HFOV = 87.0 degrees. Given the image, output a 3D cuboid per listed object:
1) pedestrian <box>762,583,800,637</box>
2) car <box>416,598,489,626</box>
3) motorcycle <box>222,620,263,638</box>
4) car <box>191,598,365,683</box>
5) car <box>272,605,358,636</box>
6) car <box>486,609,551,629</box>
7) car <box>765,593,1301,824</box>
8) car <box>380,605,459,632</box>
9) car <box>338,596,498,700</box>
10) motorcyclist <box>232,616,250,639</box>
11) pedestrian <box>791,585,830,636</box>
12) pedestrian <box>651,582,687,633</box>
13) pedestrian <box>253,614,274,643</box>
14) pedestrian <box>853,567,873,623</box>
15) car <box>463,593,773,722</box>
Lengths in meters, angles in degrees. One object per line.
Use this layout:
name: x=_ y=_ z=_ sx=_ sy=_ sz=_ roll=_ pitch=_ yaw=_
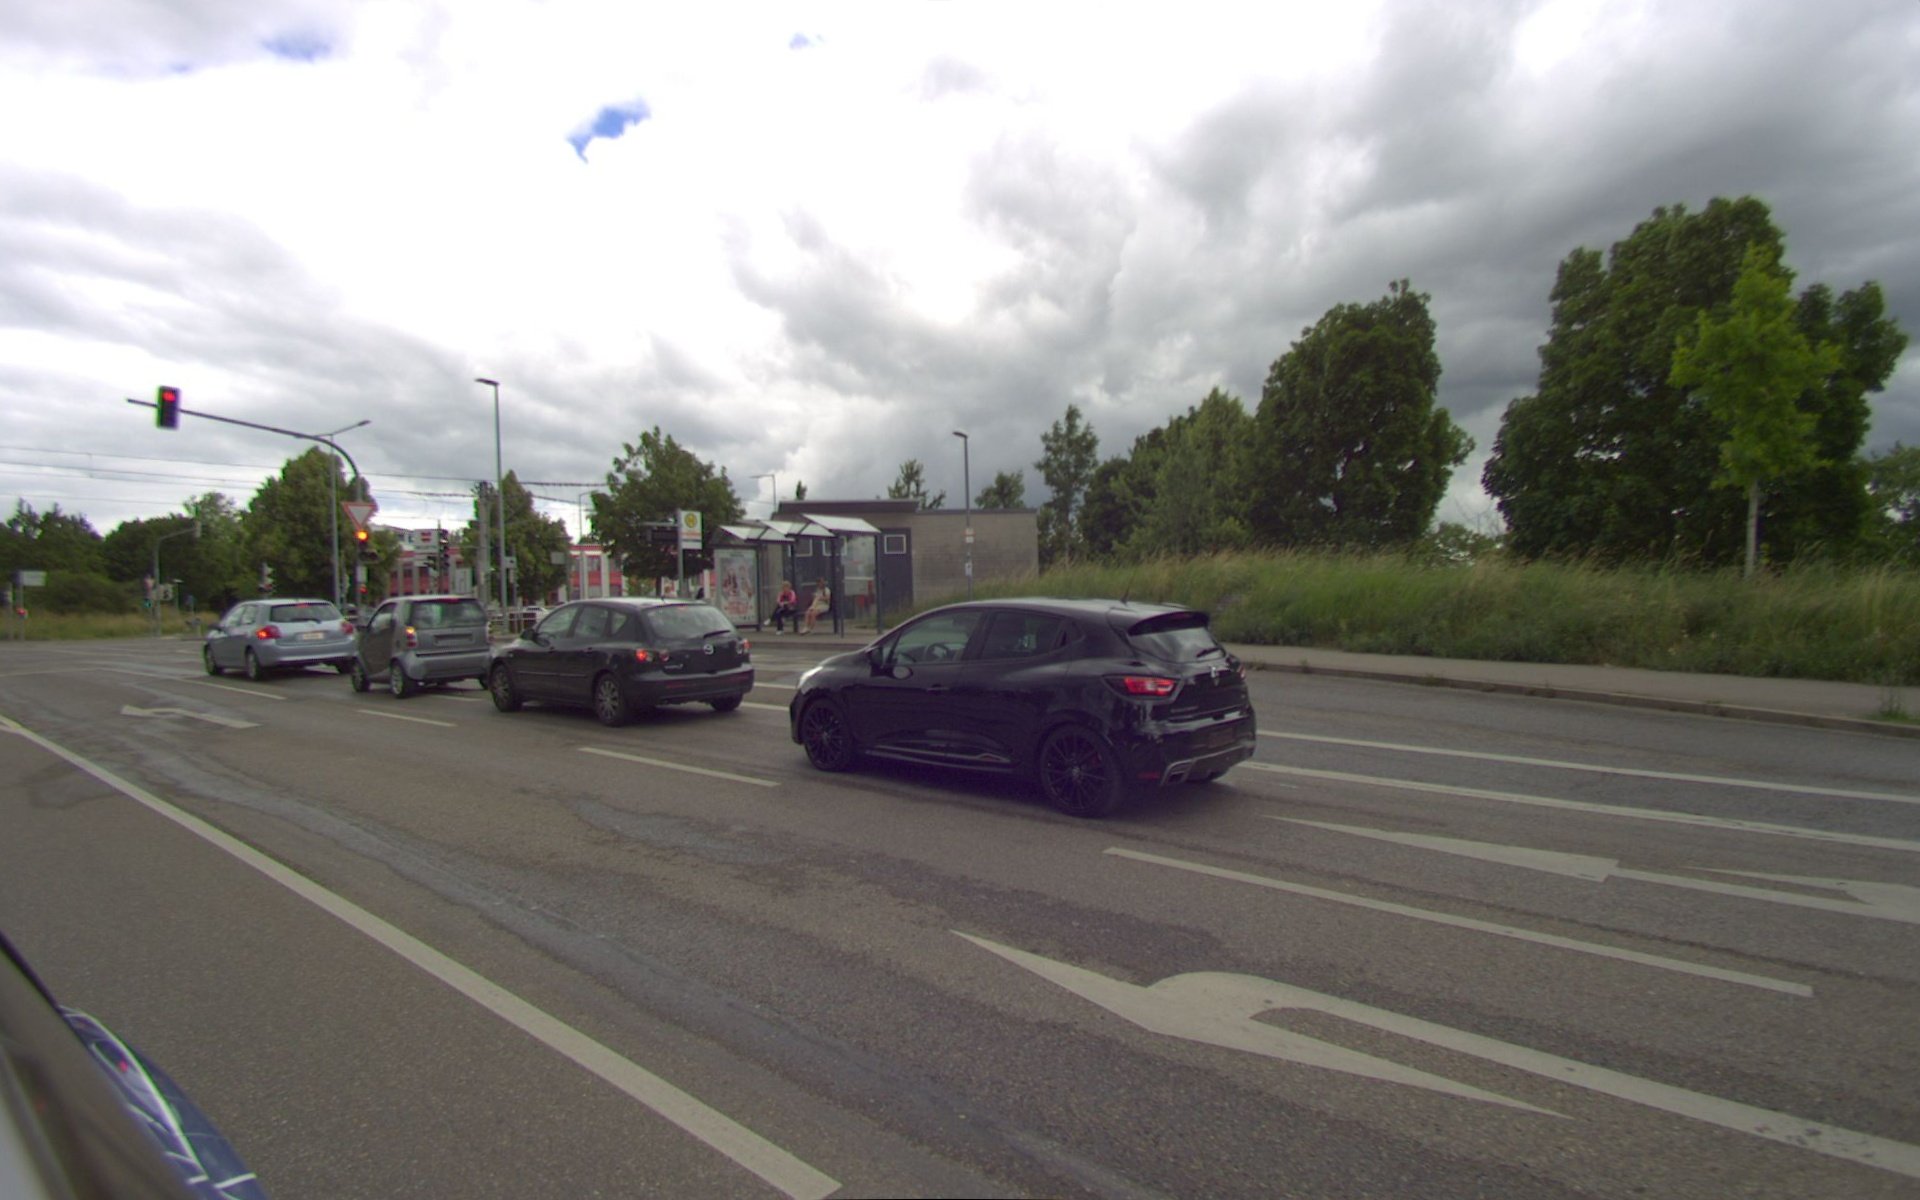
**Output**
pedestrian: x=-4.575 y=0.249 z=25.875 sx=0.549 sy=1.340 sz=0.765 roll=-2 pitch=0 yaw=35
car: x=-38.064 y=0.930 z=75.972 sx=2.175 sy=1.920 sz=4.410 roll=-1 pitch=-3 yaw=28
motorcycle: x=-46.634 y=1.903 z=65.792 sx=2.034 sy=1.098 sz=0.762 roll=-2 pitch=-1 yaw=-25
car: x=-13.872 y=0.777 z=20.493 sx=4.216 sy=1.547 sz=1.809 roll=-1 pitch=0 yaw=40
car: x=-40.486 y=1.299 z=63.631 sx=1.810 sy=1.793 sz=4.174 roll=-2 pitch=0 yaw=33
car: x=-33.692 y=1.467 z=77.352 sx=1.811 sy=1.351 sz=4.170 roll=-2 pitch=-4 yaw=36
car: x=0.359 y=0.661 z=7.898 sx=4.061 sy=1.342 sz=1.621 roll=-1 pitch=-1 yaw=43
car: x=-37.718 y=1.297 z=70.719 sx=1.807 sy=1.806 sz=4.649 roll=-2 pitch=-1 yaw=29
car: x=-8.835 y=0.729 z=16.438 sx=2.774 sy=1.538 sz=1.413 roll=-1 pitch=-1 yaw=41
motorcyclist: x=-46.734 y=1.791 z=65.752 sx=0.803 sy=1.432 sz=0.762 roll=-2 pitch=-1 yaw=-25
pedestrian: x=-3.706 y=0.258 z=25.041 sx=0.549 sy=1.236 sz=0.765 roll=-2 pitch=0 yaw=35
pedestrian: x=-8.006 y=0.207 z=27.846 sx=0.772 sy=1.374 sz=0.544 roll=-2 pitch=0 yaw=36
pedestrian: x=-37.005 y=1.517 z=53.773 sx=0.714 sy=1.542 sz=0.663 roll=-2 pitch=0 yaw=35
pedestrian: x=-2.981 y=-0.161 z=31.097 sx=0.542 sy=1.682 sz=0.430 roll=-2 pitch=0 yaw=-10
car: x=-4.416 y=0.632 z=12.694 sx=4.379 sy=1.342 sz=1.780 roll=-1 pitch=0 yaw=42
